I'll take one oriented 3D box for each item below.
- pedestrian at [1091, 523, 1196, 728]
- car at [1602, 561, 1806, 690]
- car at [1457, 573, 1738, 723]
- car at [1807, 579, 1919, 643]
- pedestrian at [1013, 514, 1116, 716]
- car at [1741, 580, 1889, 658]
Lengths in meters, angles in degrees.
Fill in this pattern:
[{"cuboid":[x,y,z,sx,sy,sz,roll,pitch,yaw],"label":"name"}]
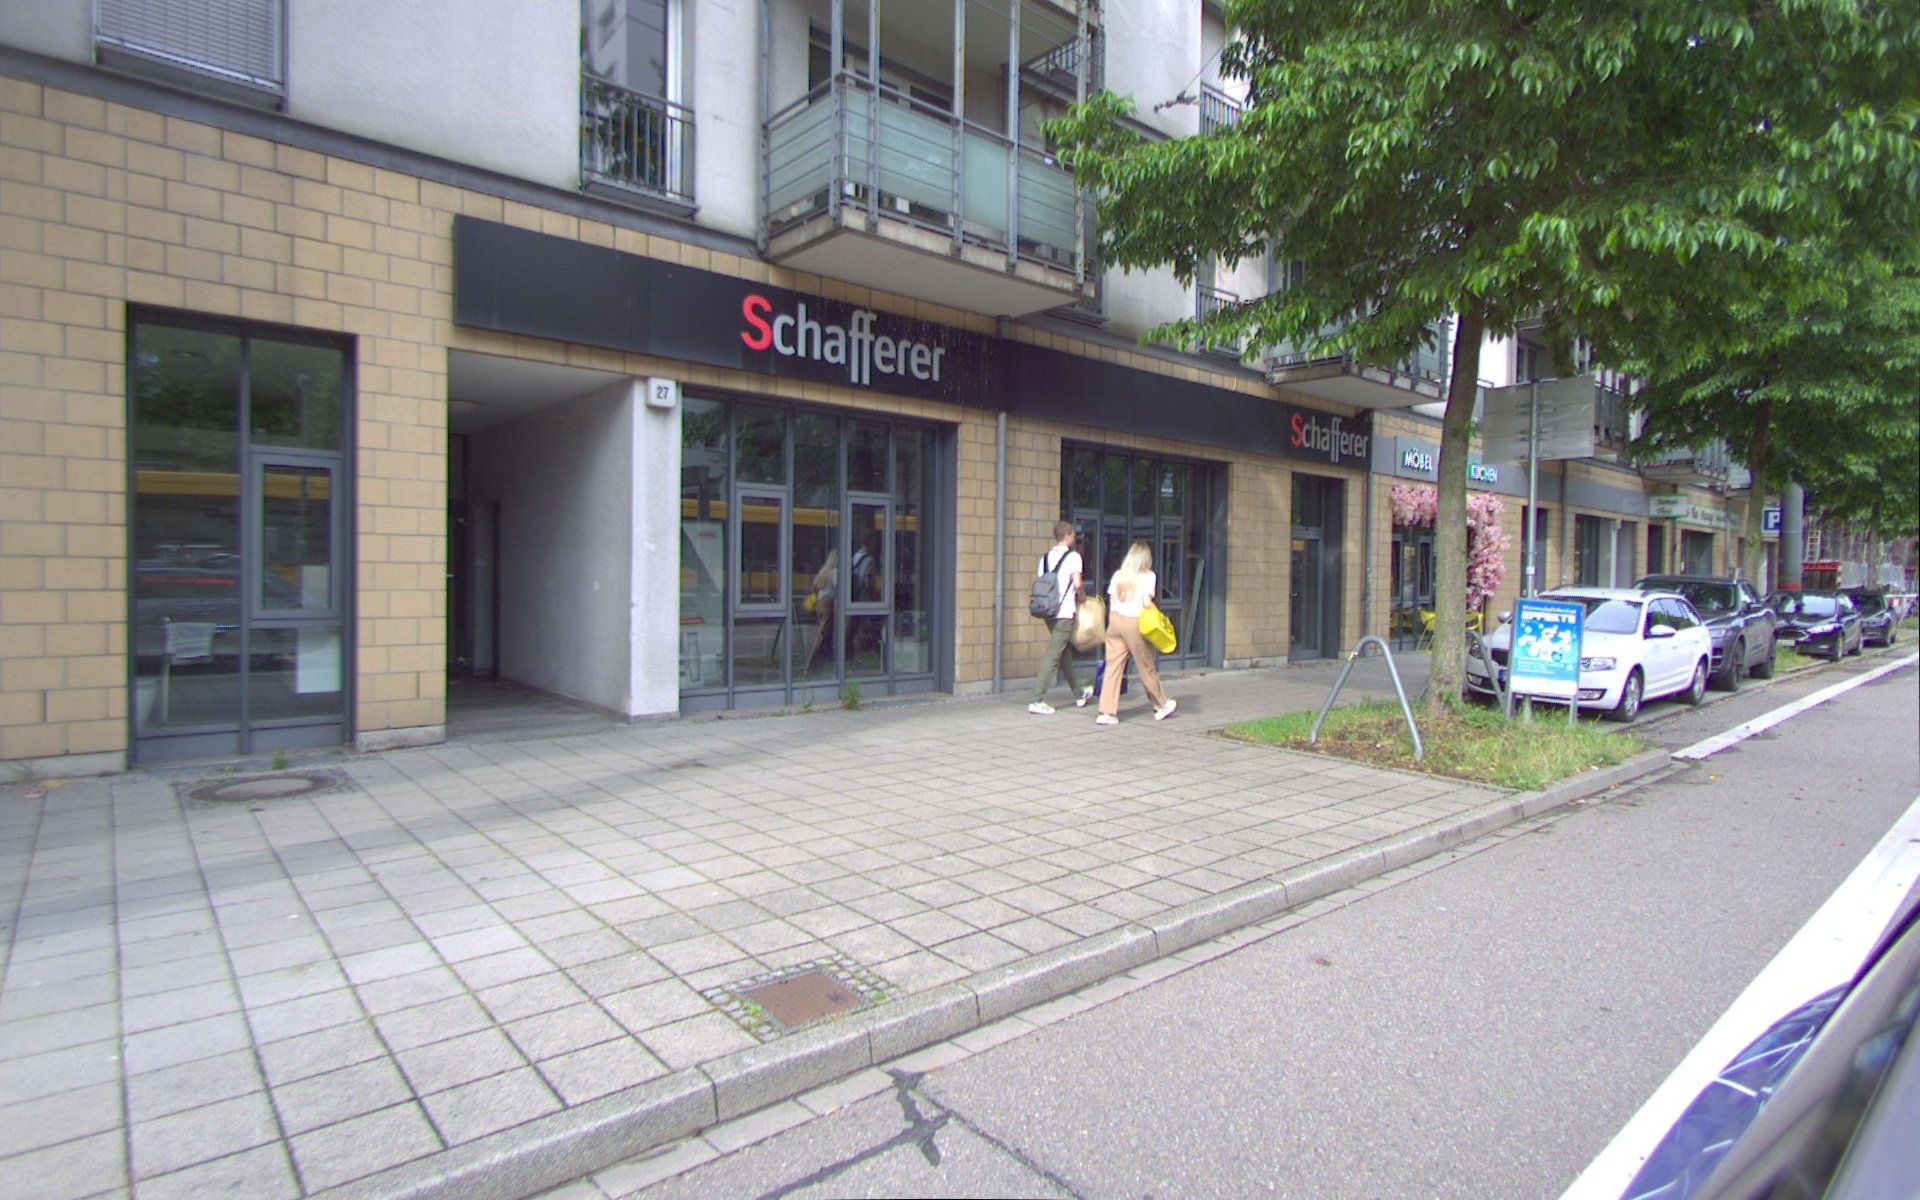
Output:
[{"cuboid":[1.723,0.214,9.489,0.724,1.828,0.617,0,2,-39],"label":"pedestrian"},{"cuboid":[12.115,0.300,16.357,4.632,1.737,1.715,-1,4,-42],"label":"car"},{"cuboid":[8.123,0.463,12.742,4.312,1.517,1.681,-1,4,-40],"label":"car"},{"cuboid":[24.356,0.232,27.240,4.315,1.472,1.800,-1,5,-43],"label":"car"},{"cuboid":[1.043,0.128,10.116,0.724,1.914,0.677,0,2,-39],"label":"pedestrian"},{"cuboid":[18.715,0.334,22.082,4.329,1.459,1.681,-1,4,-40],"label":"car"}]
